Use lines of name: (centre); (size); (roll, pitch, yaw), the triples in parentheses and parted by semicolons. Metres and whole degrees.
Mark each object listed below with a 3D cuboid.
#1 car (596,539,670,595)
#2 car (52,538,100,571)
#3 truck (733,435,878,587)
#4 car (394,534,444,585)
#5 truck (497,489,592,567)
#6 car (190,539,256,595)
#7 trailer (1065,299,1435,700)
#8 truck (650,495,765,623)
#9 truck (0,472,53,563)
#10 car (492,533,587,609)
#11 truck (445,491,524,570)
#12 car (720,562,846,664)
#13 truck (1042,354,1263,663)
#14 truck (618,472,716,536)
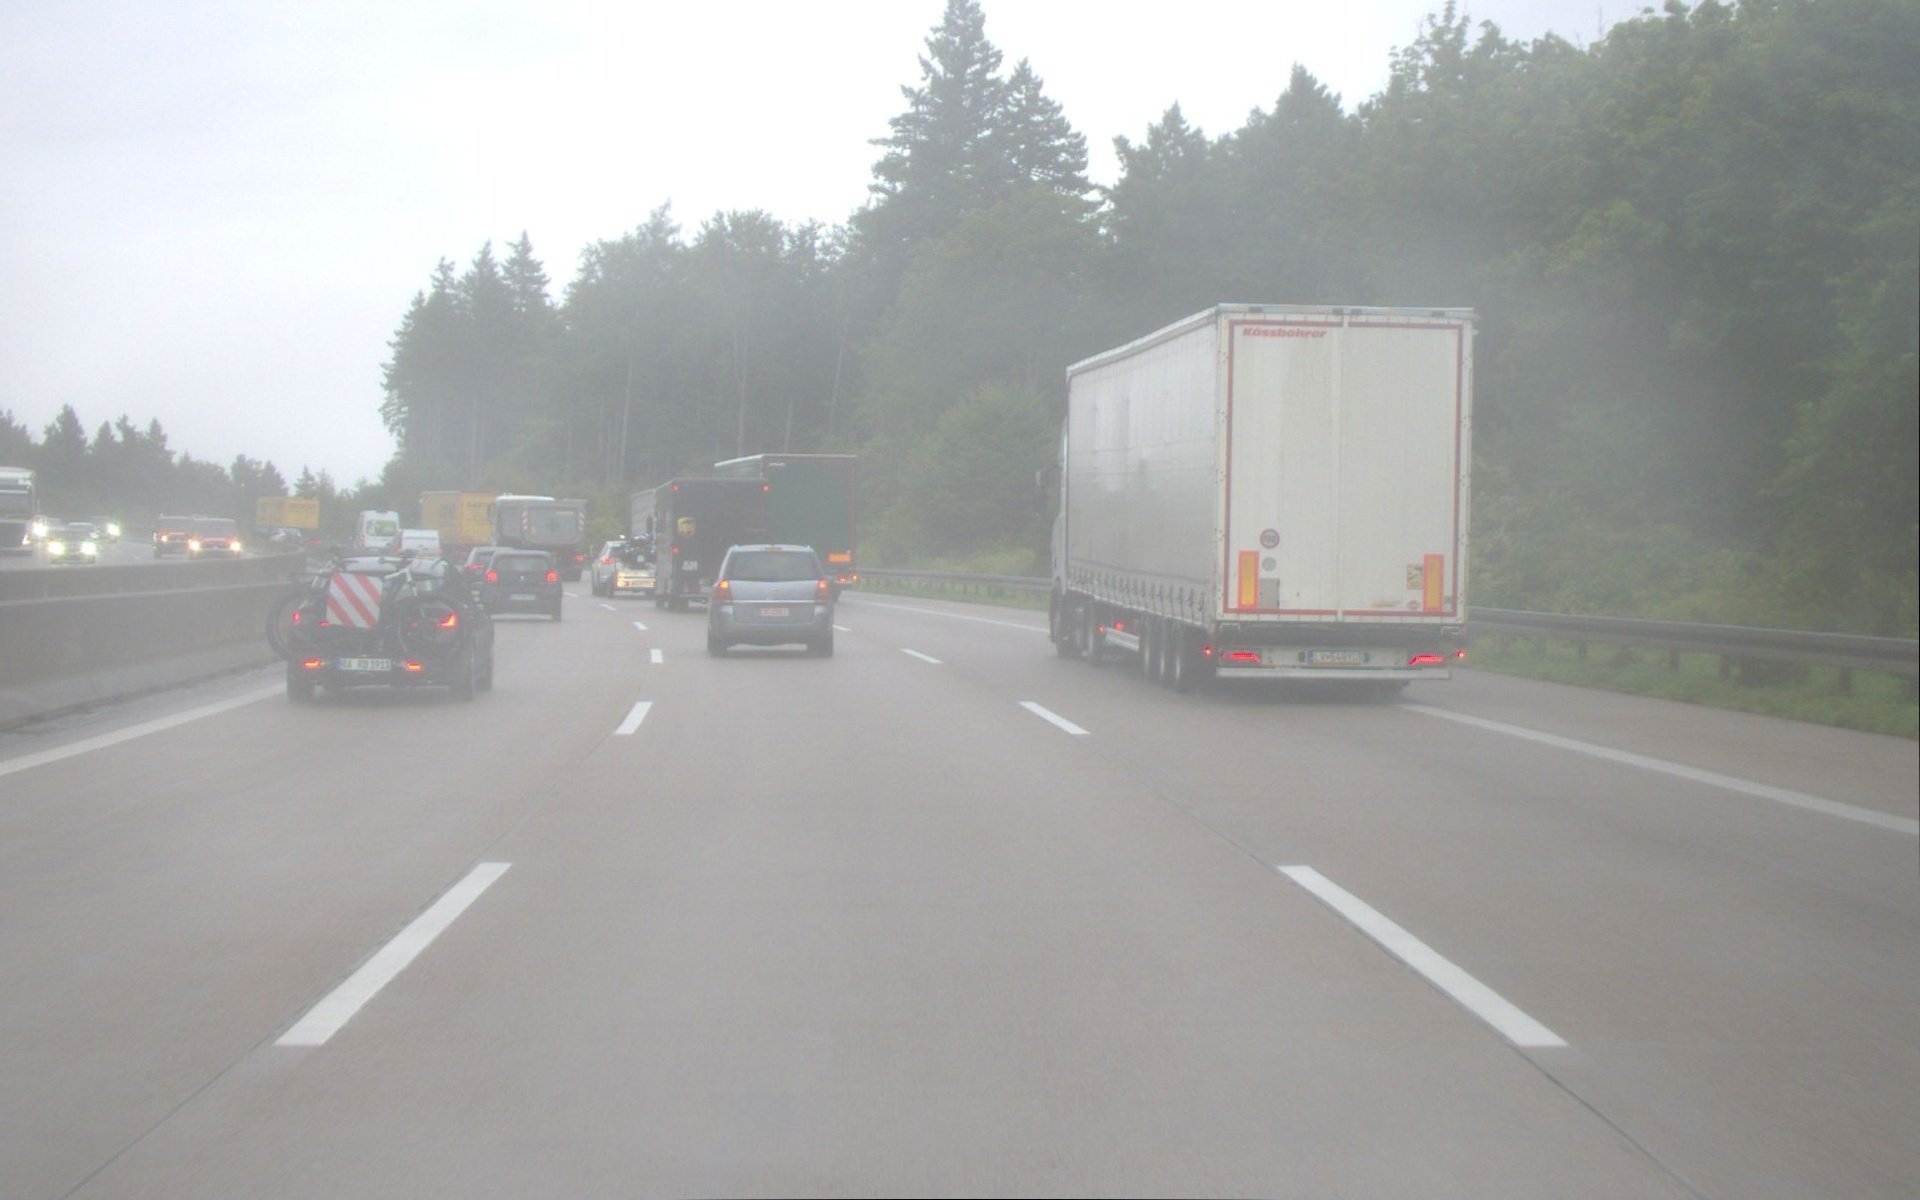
car: (-9.189, -0.943, 96.940); (1.881, 1.468, 4.001); (2, 1, -3)
car: (-37.807, -1.943, 147.090); (1.621, 1.388, 4.001); (0, 1, -9)
truck: (-4.526, -2.514, 98.497); (3.368, 4.117, 10.440); (0, 1, -7)
car: (-21.784, -1.608, 138.394); (1.725, 2.007, 3.658); (0, 0, -13)
truck: (-16.203, -2.843, 133.552); (3.081, 2.895, 7.906); (0, 2, -11)
car: (-28.084, -1.291, 131.126); (1.993, 2.075, 5.333); (0, 1, -7)
trailer: (3.130, -1.124, 40.856); (2.419, 4.054, 12.057); (0, 1, -5)
truck: (-6.104, -1.047, 82.194); (2.269, 2.877, 7.905); (0, 2, -8)
truck: (-45.522, -3.947, 165.692); (2.744, 4.270, 8.317); (0, 1, -10)
car: (-8.611, -0.606, 70.599); (1.683, 1.457, 3.684); (2, 1, -4)
truck: (-26.145, -3.775, 188.850); (3.739, 4.195, 6.820); (0, 0, -12)
car: (-2.528, 0.158, 49.783); (1.554, 1.347, 3.684); (2, 1, 1)
truck: (2.586, -1.243, 47.632); (2.419, 4.054, 4.979); (0, 1, -4)
truck: (-11.296, -3.678, 131.910); (2.973, 2.301, 6.669); (2, 1, -11)
